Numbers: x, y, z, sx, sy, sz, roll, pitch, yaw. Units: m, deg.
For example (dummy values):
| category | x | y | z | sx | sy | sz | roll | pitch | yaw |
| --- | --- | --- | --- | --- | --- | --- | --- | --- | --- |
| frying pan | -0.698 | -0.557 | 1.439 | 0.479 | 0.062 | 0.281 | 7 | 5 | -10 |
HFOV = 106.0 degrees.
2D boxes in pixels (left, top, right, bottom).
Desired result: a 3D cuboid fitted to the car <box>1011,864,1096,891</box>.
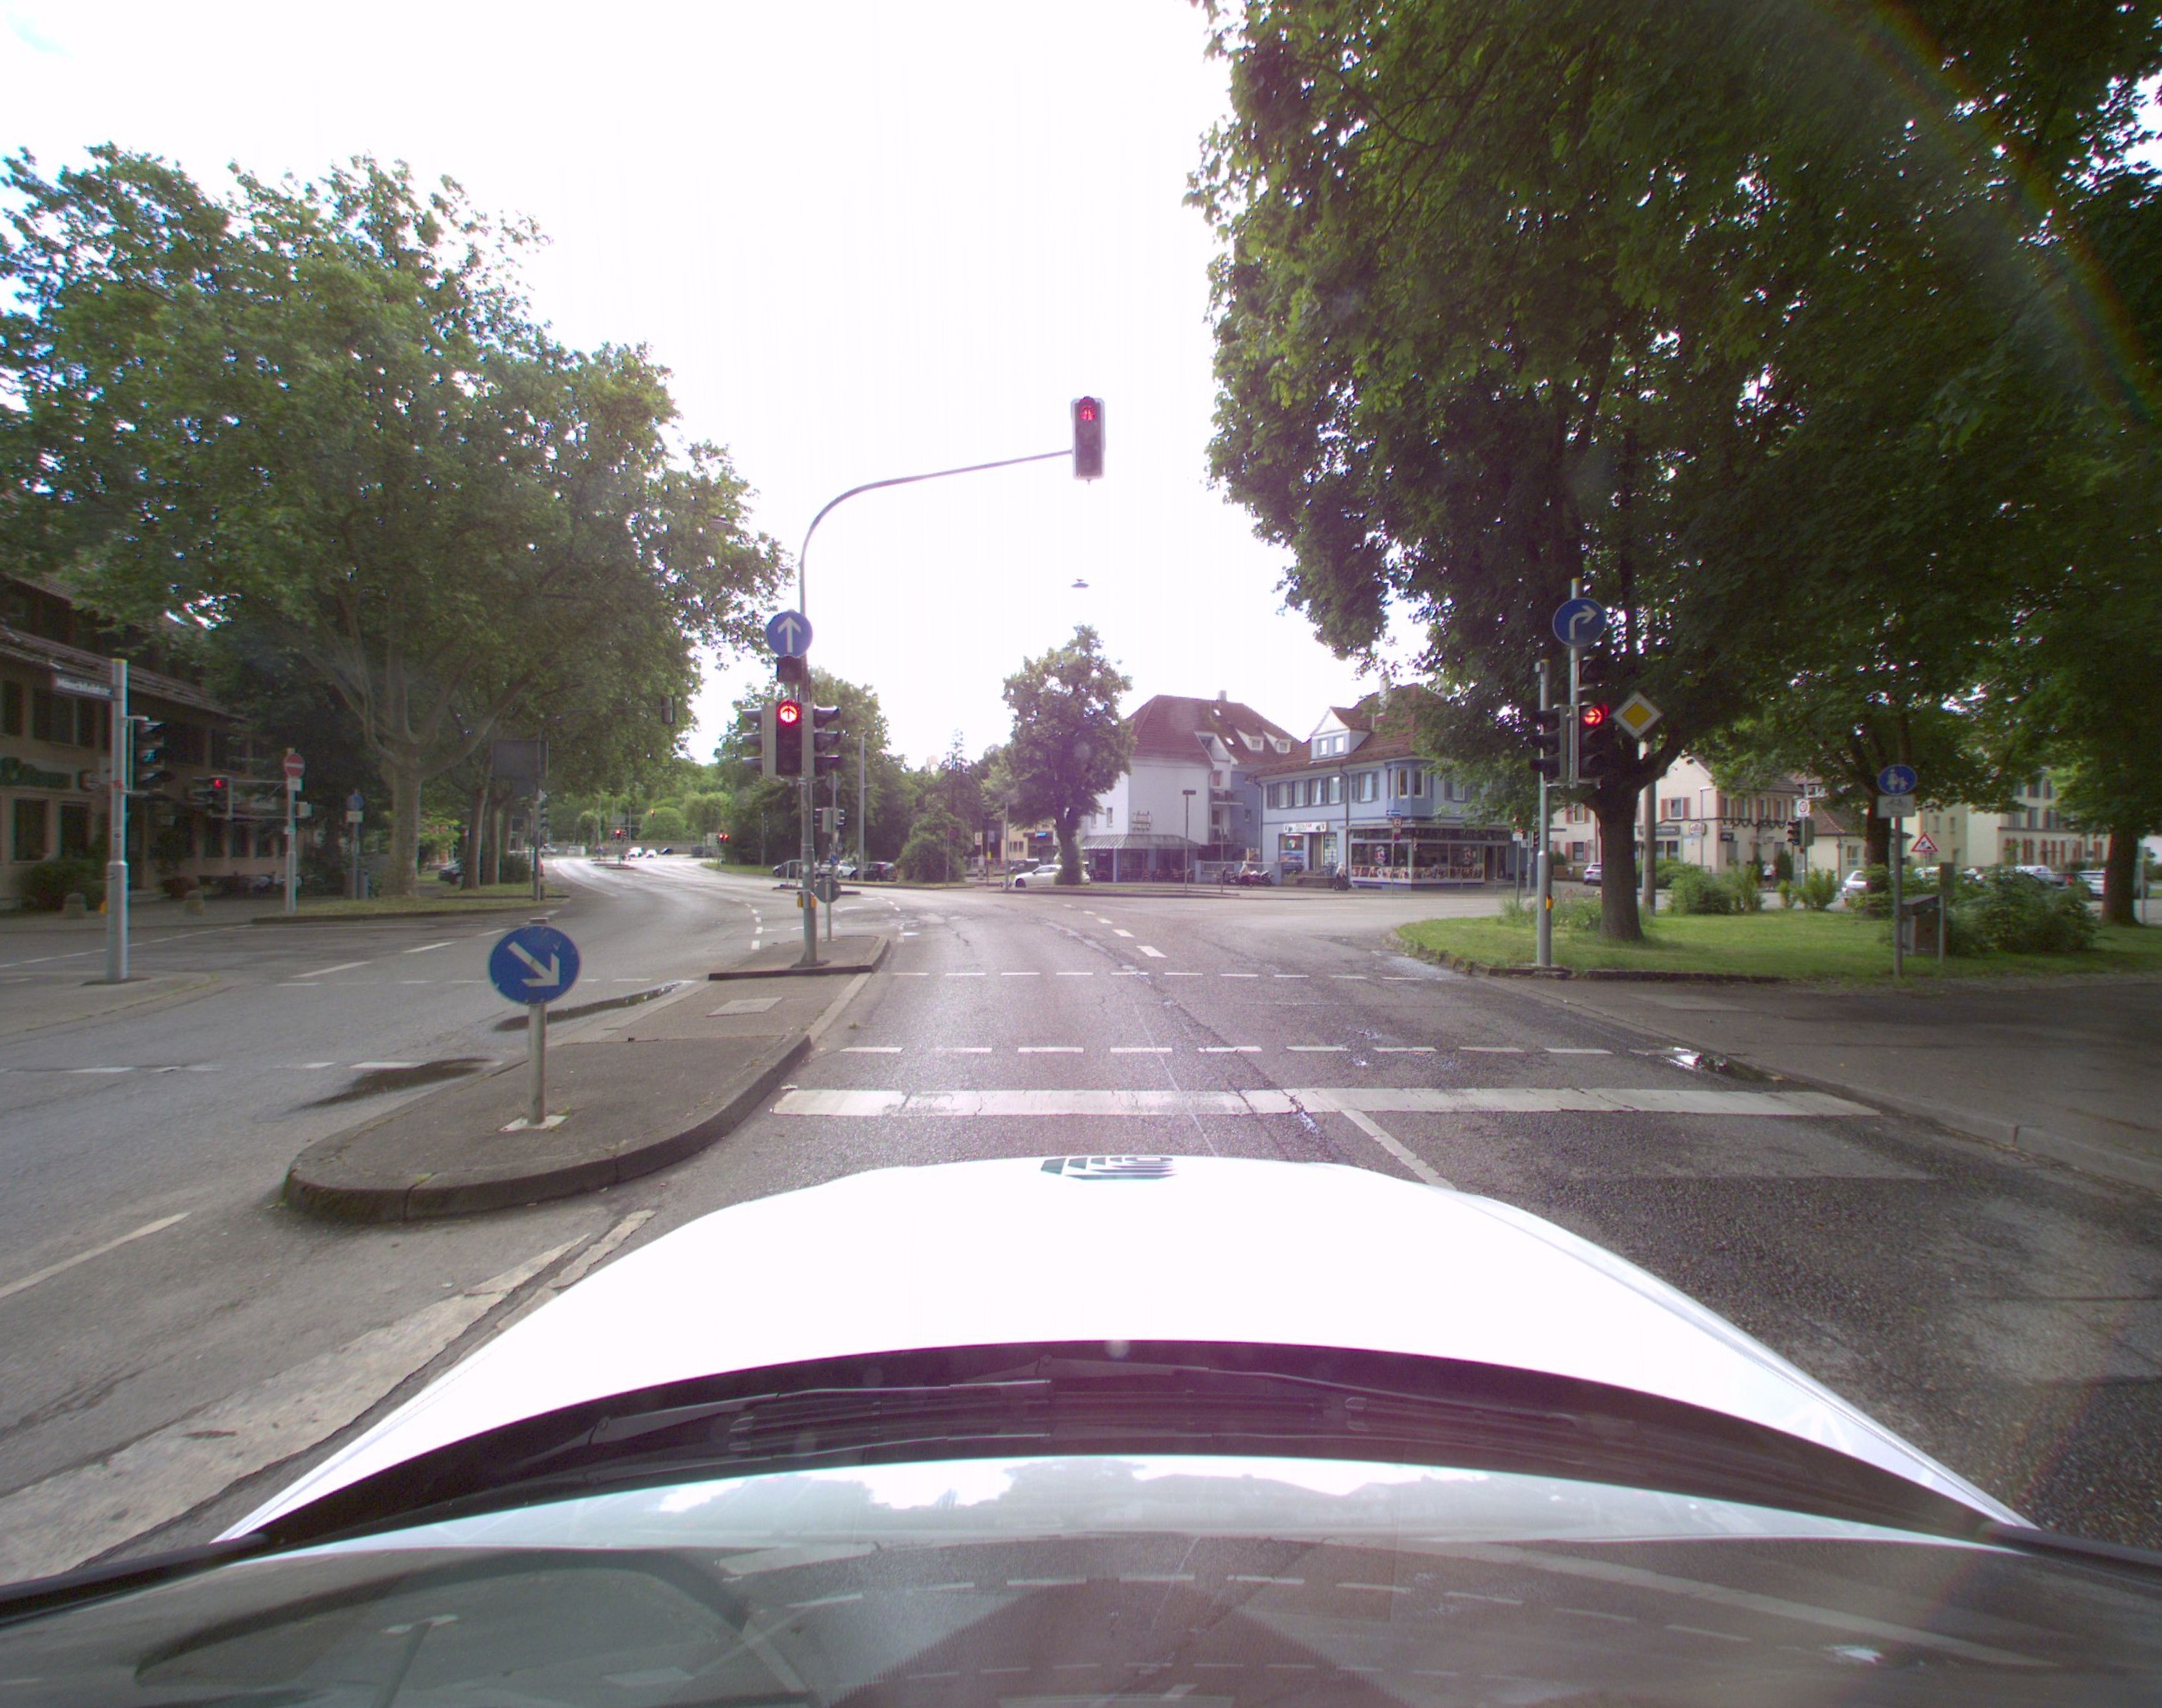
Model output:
| category | x | y | z | sx | sy | sz | roll | pitch | yaw |
| --- | --- | --- | --- | --- | --- | --- | --- | --- | --- |
| car | -1.592 | 1.287 | 45.935 | 4.654 | 1.410 | 1.914 | 0 | -1 | 37 |

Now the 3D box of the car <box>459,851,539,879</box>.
| category | x | y | z | sx | sy | sz | roll | pitch | yaw |
| --- | --- | --- | --- | --- | --- | --- | --- | --- | --- |
| car | -36.457 | 0.684 | 51.179 | 4.015 | 1.684 | 1.979 | 0 | -1 | -34 |

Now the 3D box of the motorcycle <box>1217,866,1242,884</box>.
| category | x | y | z | sx | sy | sz | roll | pitch | yaw |
| --- | --- | --- | --- | --- | --- | --- | --- | --- | --- |
| motorcycle | 9.137 | 1.309 | 50.050 | 1.441 | 1.088 | 0.527 | -1 | -1 | 37 |

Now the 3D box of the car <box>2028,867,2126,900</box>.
| category | x | y | z | sx | sy | sz | roll | pitch | yaw |
| --- | --- | --- | --- | --- | --- | --- | --- | --- | --- |
| car | 47.082 | 1.369 | 38.518 | 3.731 | 1.457 | 1.640 | 0 | 0 | -17 |

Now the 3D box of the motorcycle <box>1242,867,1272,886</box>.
| category | x | y | z | sx | sy | sz | roll | pitch | yaw |
| --- | --- | --- | --- | --- | --- | --- | --- | --- | --- |
| motorcycle | 10.430 | 1.319 | 48.247 | 1.609 | 1.088 | 0.631 | -1 | -1 | 34 |

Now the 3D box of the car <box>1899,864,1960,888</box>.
| category | x | y | z | sx | sy | sz | roll | pitch | yaw |
| --- | --- | --- | --- | --- | --- | --- | --- | --- | --- |
| car | 55.236 | 1.412 | 52.983 | 3.871 | 1.447 | 1.753 | 0 | -1 | -28 |

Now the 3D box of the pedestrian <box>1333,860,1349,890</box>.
| category | x | y | z | sx | sy | sz | roll | pitch | yaw |
| --- | --- | --- | --- | --- | --- | --- | --- | --- | --- |
| pedestrian | 13.986 | 1.131 | 43.801 | 0.687 | 1.560 | 0.671 | -1 | -1 | 33 |

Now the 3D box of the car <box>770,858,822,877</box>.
| category | x | y | z | sx | sy | sz | roll | pitch | yaw |
| --- | --- | --- | --- | --- | --- | --- | --- | --- | --- |
| car | -22.587 | 1.030 | 64.519 | 3.742 | 1.465 | 1.629 | 0 | 0 | 20 |

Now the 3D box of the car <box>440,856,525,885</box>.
| category | x | y | z | sx | sy | sz | roll | pitch | yaw |
| --- | --- | --- | --- | --- | --- | --- | --- | --- | --- |
| car | -35.627 | 0.959 | 48.610 | 4.015 | 1.684 | 1.979 | 0 | -1 | -34 |

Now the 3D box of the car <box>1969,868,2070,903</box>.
| category | x | y | z | sx | sy | sz | roll | pitch | yaw |
| --- | --- | --- | --- | --- | --- | --- | --- | --- | --- |
| car | 42.348 | 1.378 | 36.755 | 3.731 | 1.457 | 1.640 | 0 | 0 | -17 |

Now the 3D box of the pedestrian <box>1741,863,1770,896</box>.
| category | x | y | z | sx | sy | sz | roll | pitch | yaw |
| --- | --- | --- | --- | --- | --- | --- | --- | --- | --- |
| pedestrian | 22.008 | 0.823 | 26.569 | 0.505 | 1.081 | 0.514 | 0 | -1 | -13 |

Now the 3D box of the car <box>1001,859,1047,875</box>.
| category | x | y | z | sx | sy | sz | roll | pitch | yaw |
| --- | --- | --- | --- | --- | --- | --- | --- | --- | --- |
| car | -5.317 | 1.236 | 75.920 | 3.948 | 1.442 | 1.742 | 0 | 0 | -18 |

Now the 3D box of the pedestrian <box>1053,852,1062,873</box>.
| category | x | y | z | sx | sy | sz | roll | pitch | yaw |
| --- | --- | --- | --- | --- | --- | --- | --- | --- | --- |
| pedestrian | -1.726 | 0.616 | 59.415 | 0.538 | 1.560 | 0.470 | -1 | -1 | 15 |

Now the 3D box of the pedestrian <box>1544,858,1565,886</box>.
| category | x | y | z | sx | sy | sz | roll | pitch | yaw |
| --- | --- | --- | --- | --- | --- | --- | --- | --- | --- |
| pedestrian | 26.476 | 0.986 | 45.545 | 0.671 | 1.560 | 0.743 | 0 | -1 | -13 |

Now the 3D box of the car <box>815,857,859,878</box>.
| category | x | y | z | sx | sy | sz | roll | pitch | yaw |
| --- | --- | --- | --- | --- | --- | --- | --- | --- | --- |
| car | -20.132 | 1.088 | 67.410 | 1.848 | 1.640 | 3.768 | 0 | 0 | 13 |

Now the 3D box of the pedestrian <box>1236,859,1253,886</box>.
| category | x | y | z | sx | sy | sz | roll | pitch | yaw |
| --- | --- | --- | --- | --- | --- | --- | --- | --- | --- |
| pedestrian | 9.516 | 1.048 | 47.337 | 0.724 | 1.560 | 0.773 | -1 | -1 | 33 |

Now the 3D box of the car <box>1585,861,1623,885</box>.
| category | x | y | z | sx | sy | sz | roll | pitch | yaw |
| --- | --- | --- | --- | --- | --- | --- | --- | --- | --- |
| car | 32.461 | 1.140 | 50.623 | 1.866 | 1.391 | 3.637 | 0 | 0 | 31 |

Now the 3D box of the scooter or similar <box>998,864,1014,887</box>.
| category | x | y | z | sx | sy | sz | roll | pitch | yaw |
| --- | --- | --- | --- | --- | --- | --- | --- | --- | --- |
| scooter or similar | -3.950 | 1.140 | 42.848 | 0.439 | 1.175 | 1.442 | -1 | -1 | 11 |

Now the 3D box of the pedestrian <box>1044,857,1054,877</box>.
| category | x | y | z | sx | sy | sz | roll | pitch | yaw |
| --- | --- | --- | --- | --- | --- | --- | --- | --- | --- |
| pedestrian | -3.173 | 1.299 | 80.837 | 0.838 | 2.014 | 1.051 | 0 | -1 | -12 |

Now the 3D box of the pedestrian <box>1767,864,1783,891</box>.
| category | x | y | z | sx | sy | sz | roll | pitch | yaw |
| --- | --- | --- | --- | --- | --- | --- | --- | --- | --- |
| pedestrian | 40.527 | 1.358 | 47.555 | 0.504 | 1.560 | 0.507 | 0 | -1 | -13 |

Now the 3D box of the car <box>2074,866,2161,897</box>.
| category | x | y | z | sx | sy | sz | roll | pitch | yaw |
| --- | --- | --- | --- | --- | --- | --- | --- | --- | --- |
| car | 52.599 | 1.368 | 41.256 | 3.731 | 1.457 | 1.640 | 0 | 0 | -17 |

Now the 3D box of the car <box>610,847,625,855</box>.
| category | x | y | z | sx | sy | sz | roll | pitch | yaw |
| --- | --- | --- | --- | --- | --- | --- | --- | --- | --- |
| car | -87.115 | -0.520 | 153.079 | 3.293 | 1.486 | 1.594 | -1 | -2 | 43 |

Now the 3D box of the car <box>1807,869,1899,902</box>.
| category | x | y | z | sx | sy | sz | roll | pitch | yaw |
| --- | --- | --- | --- | --- | --- | --- | --- | --- | --- |
| car | 31.766 | 1.275 | 33.512 | 3.007 | 1.267 | 1.455 | 0 | -1 | -17 |

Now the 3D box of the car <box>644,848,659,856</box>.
| category | x | y | z | sx | sy | sz | roll | pitch | yaw |
| --- | --- | --- | --- | --- | --- | --- | --- | --- | --- |
| car | -83.016 | -0.313 | 157.399 | 2.988 | 1.417 | 1.509 | -1 | -2 | 42 |

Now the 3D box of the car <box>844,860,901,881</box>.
| category | x | y | z | sx | sy | sz | roll | pitch | yaw |
| --- | --- | --- | --- | --- | --- | --- | --- | --- | --- |
| car | -13.824 | 1.057 | 54.004 | 3.285 | 1.352 | 1.791 | 0 | 0 | 29 |
